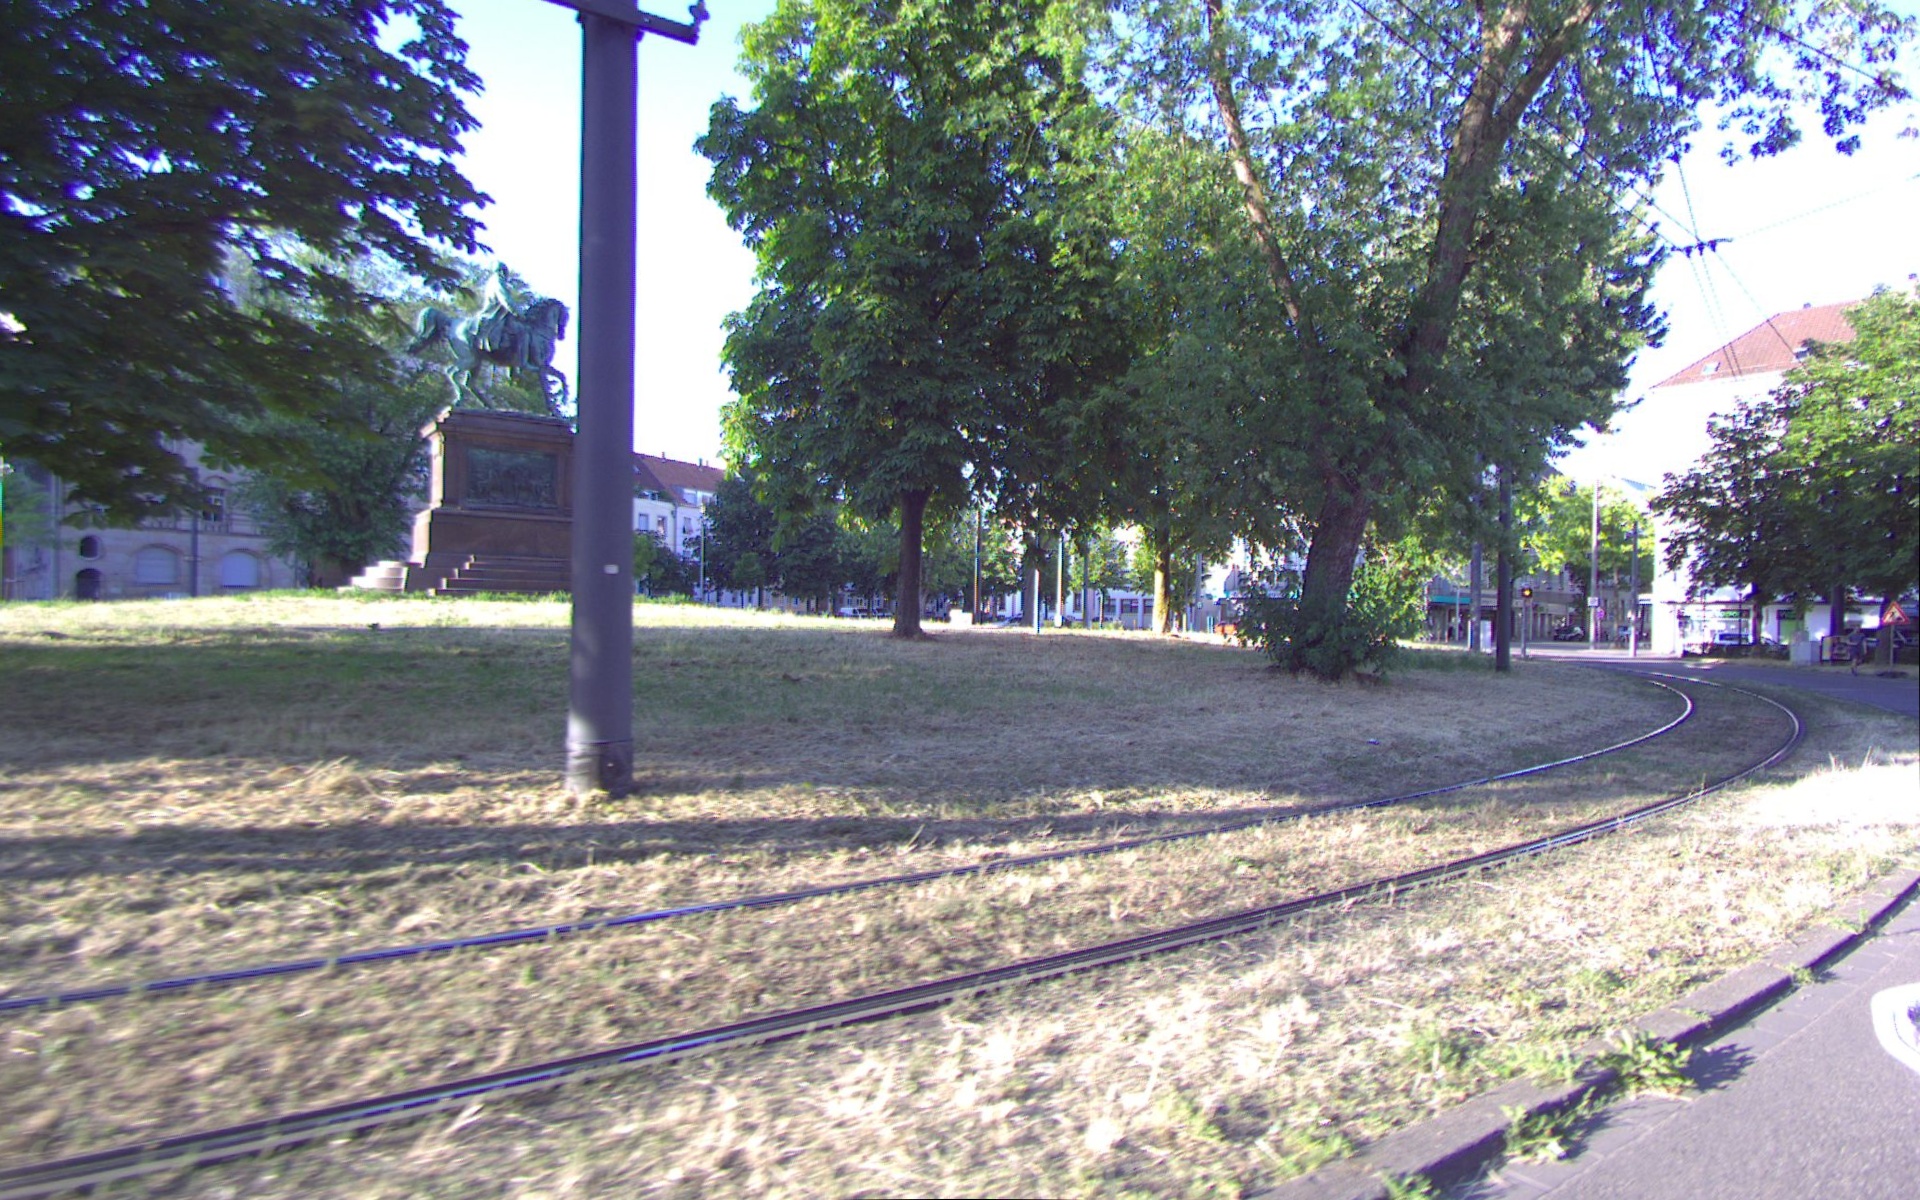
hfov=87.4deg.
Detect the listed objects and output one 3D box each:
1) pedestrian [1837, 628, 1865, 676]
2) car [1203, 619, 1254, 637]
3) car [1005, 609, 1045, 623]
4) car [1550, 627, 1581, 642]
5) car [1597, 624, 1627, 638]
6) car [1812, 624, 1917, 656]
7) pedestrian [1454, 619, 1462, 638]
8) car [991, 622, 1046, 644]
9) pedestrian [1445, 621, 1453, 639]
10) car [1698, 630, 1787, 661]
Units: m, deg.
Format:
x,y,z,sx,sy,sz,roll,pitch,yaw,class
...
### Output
x,y,z,sx,sy,sz,roll,pitch,yaw,class
30.385,1.753,34.263,0.551,1.587,0.593,2,0,30,pedestrian
23.703,2.437,88.753,1.982,1.483,3.957,1,0,-37,car
6.584,1.599,102.372,3.912,1.272,1.594,2,0,44,car
62.983,3.585,104.428,3.593,1.496,1.643,2,0,-39,car
72.485,3.450,111.712,3.591,1.496,1.645,2,0,-37,car
49.588,2.187,55.115,1.981,1.572,3.958,1,0,-37,car
46.847,2.678,94.471,0.536,1.723,0.475,1,0,-38,pedestrian
4.306,2.431,74.258,3.880,1.482,1.591,1,0,-7,car
46.375,2.823,95.246,0.536,1.723,0.475,1,0,-38,pedestrian
43.120,2.484,55.392,1.647,1.572,3.587,1,0,-36,car
